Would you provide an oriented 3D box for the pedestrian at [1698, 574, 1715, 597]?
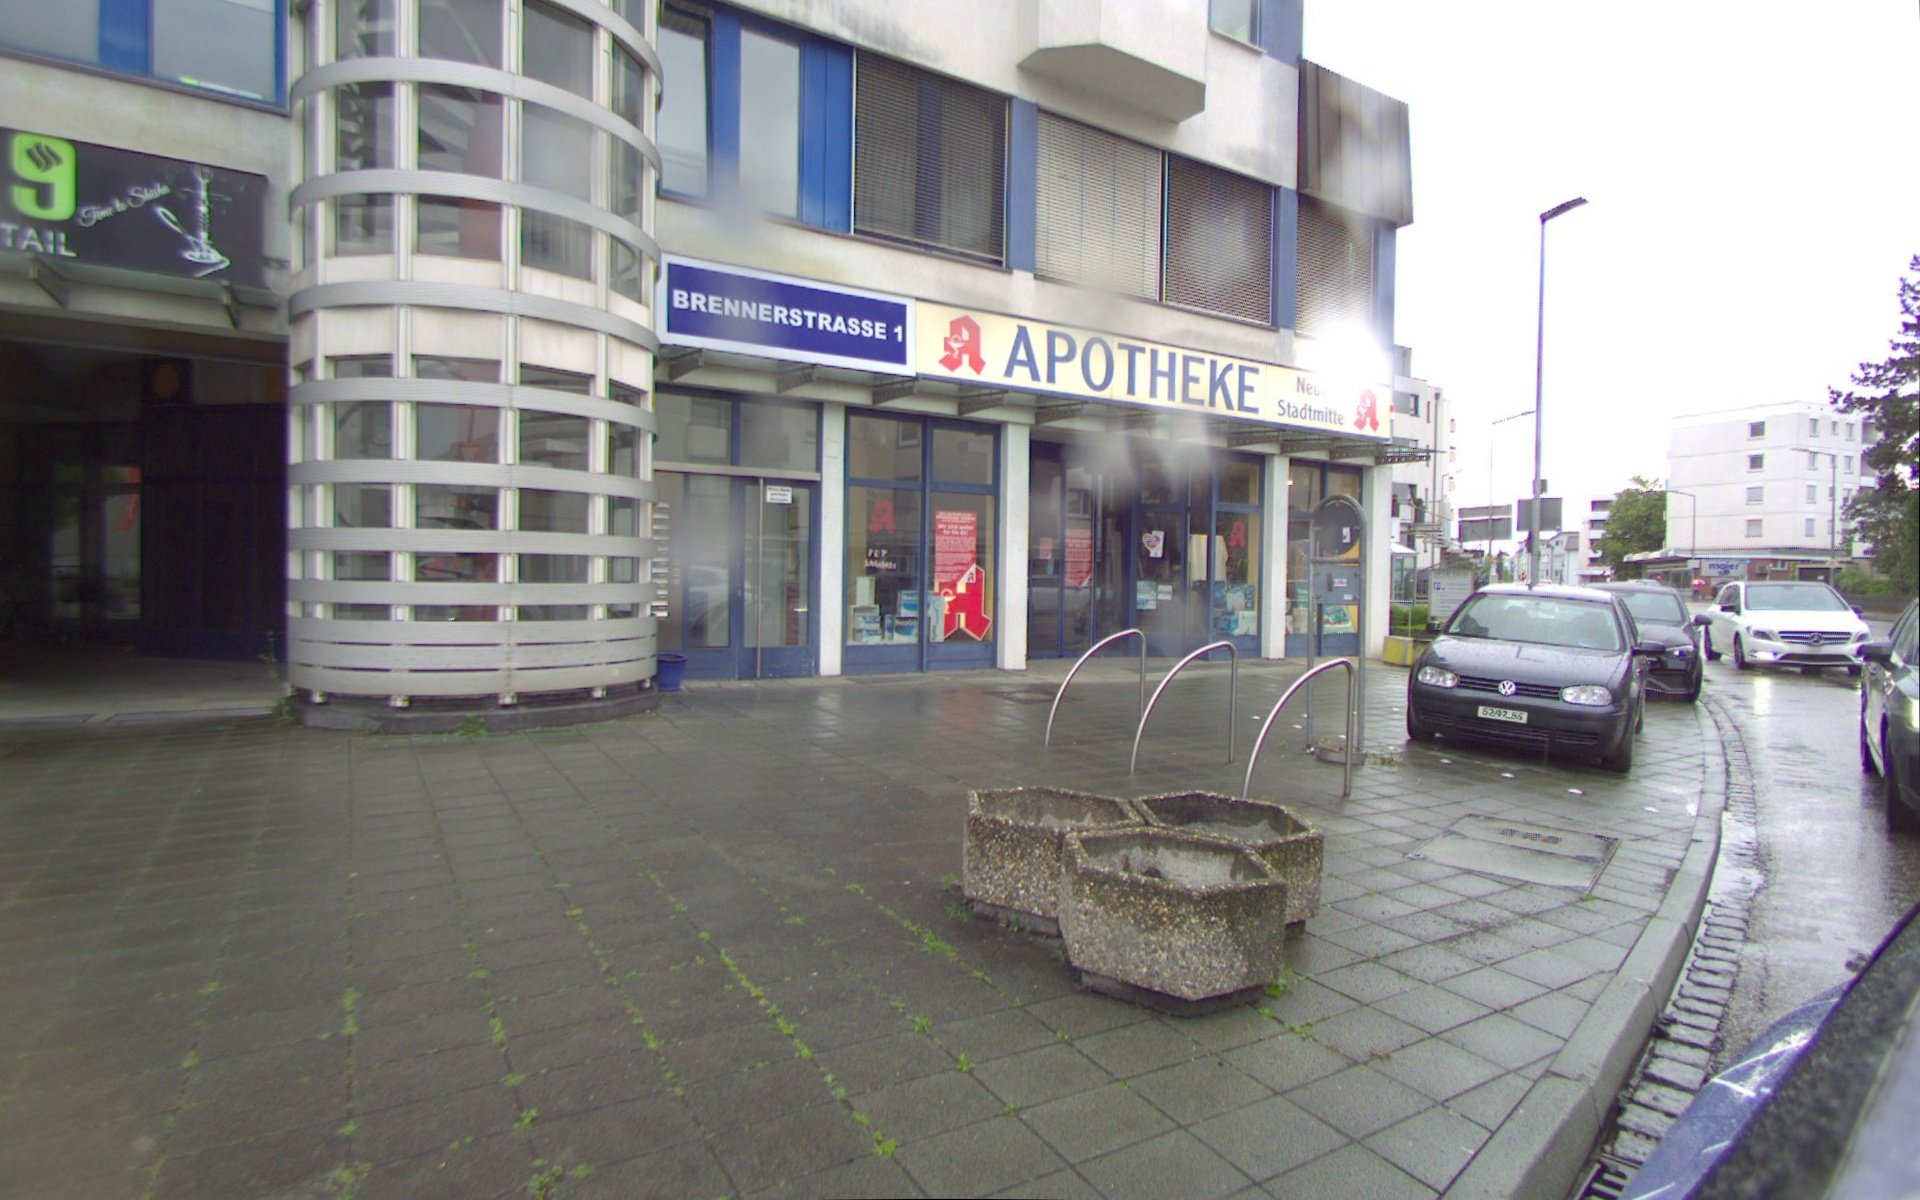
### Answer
[{"bbox_3d":[58.073,-1.100,78.717,0.845,1.757,0.831,1,2,20],"label":"pedestrian"}]

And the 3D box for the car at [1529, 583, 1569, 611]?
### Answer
[{"bbox_3d":[35.638,-0.217,61.303,1.982,1.635,3.960,-1,1,29],"label":"car"}]

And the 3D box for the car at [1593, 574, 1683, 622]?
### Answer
[{"bbox_3d":[22.094,-0.127,33.113,1.783,1.385,3.941,1,3,25],"label":"car"}]

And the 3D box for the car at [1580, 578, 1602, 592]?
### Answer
[{"bbox_3d":[71.004,-1.668,113.931,1.855,1.454,3.704,1,2,28],"label":"car"}]

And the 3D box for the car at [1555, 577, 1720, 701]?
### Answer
[{"bbox_3d":[9.422,0.416,14.020,1.650,1.442,3.949,2,2,36],"label":"car"}]

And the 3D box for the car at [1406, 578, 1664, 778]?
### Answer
[{"bbox_3d":[5.488,0.536,9.439,1.646,1.388,3.683,5,4,36],"label":"car"}]

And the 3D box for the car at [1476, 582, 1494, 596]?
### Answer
[{"bbox_3d":[65.969,-1.419,127.206,1.727,1.660,3.967,1,2,24],"label":"car"}]

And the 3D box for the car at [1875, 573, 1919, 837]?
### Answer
[{"bbox_3d":[7.355,0.571,6.726,1.728,1.462,3.989,1,2,40],"label":"car"}]

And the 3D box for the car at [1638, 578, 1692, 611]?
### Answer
[{"bbox_3d":[34.891,-0.293,50.138,1.736,1.472,3.776,1,3,29],"label":"car"}]

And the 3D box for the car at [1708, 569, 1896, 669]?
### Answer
[{"bbox_3d":[14.909,0.268,18.161,1.718,1.547,4.024,2,1,27],"label":"car"}]
